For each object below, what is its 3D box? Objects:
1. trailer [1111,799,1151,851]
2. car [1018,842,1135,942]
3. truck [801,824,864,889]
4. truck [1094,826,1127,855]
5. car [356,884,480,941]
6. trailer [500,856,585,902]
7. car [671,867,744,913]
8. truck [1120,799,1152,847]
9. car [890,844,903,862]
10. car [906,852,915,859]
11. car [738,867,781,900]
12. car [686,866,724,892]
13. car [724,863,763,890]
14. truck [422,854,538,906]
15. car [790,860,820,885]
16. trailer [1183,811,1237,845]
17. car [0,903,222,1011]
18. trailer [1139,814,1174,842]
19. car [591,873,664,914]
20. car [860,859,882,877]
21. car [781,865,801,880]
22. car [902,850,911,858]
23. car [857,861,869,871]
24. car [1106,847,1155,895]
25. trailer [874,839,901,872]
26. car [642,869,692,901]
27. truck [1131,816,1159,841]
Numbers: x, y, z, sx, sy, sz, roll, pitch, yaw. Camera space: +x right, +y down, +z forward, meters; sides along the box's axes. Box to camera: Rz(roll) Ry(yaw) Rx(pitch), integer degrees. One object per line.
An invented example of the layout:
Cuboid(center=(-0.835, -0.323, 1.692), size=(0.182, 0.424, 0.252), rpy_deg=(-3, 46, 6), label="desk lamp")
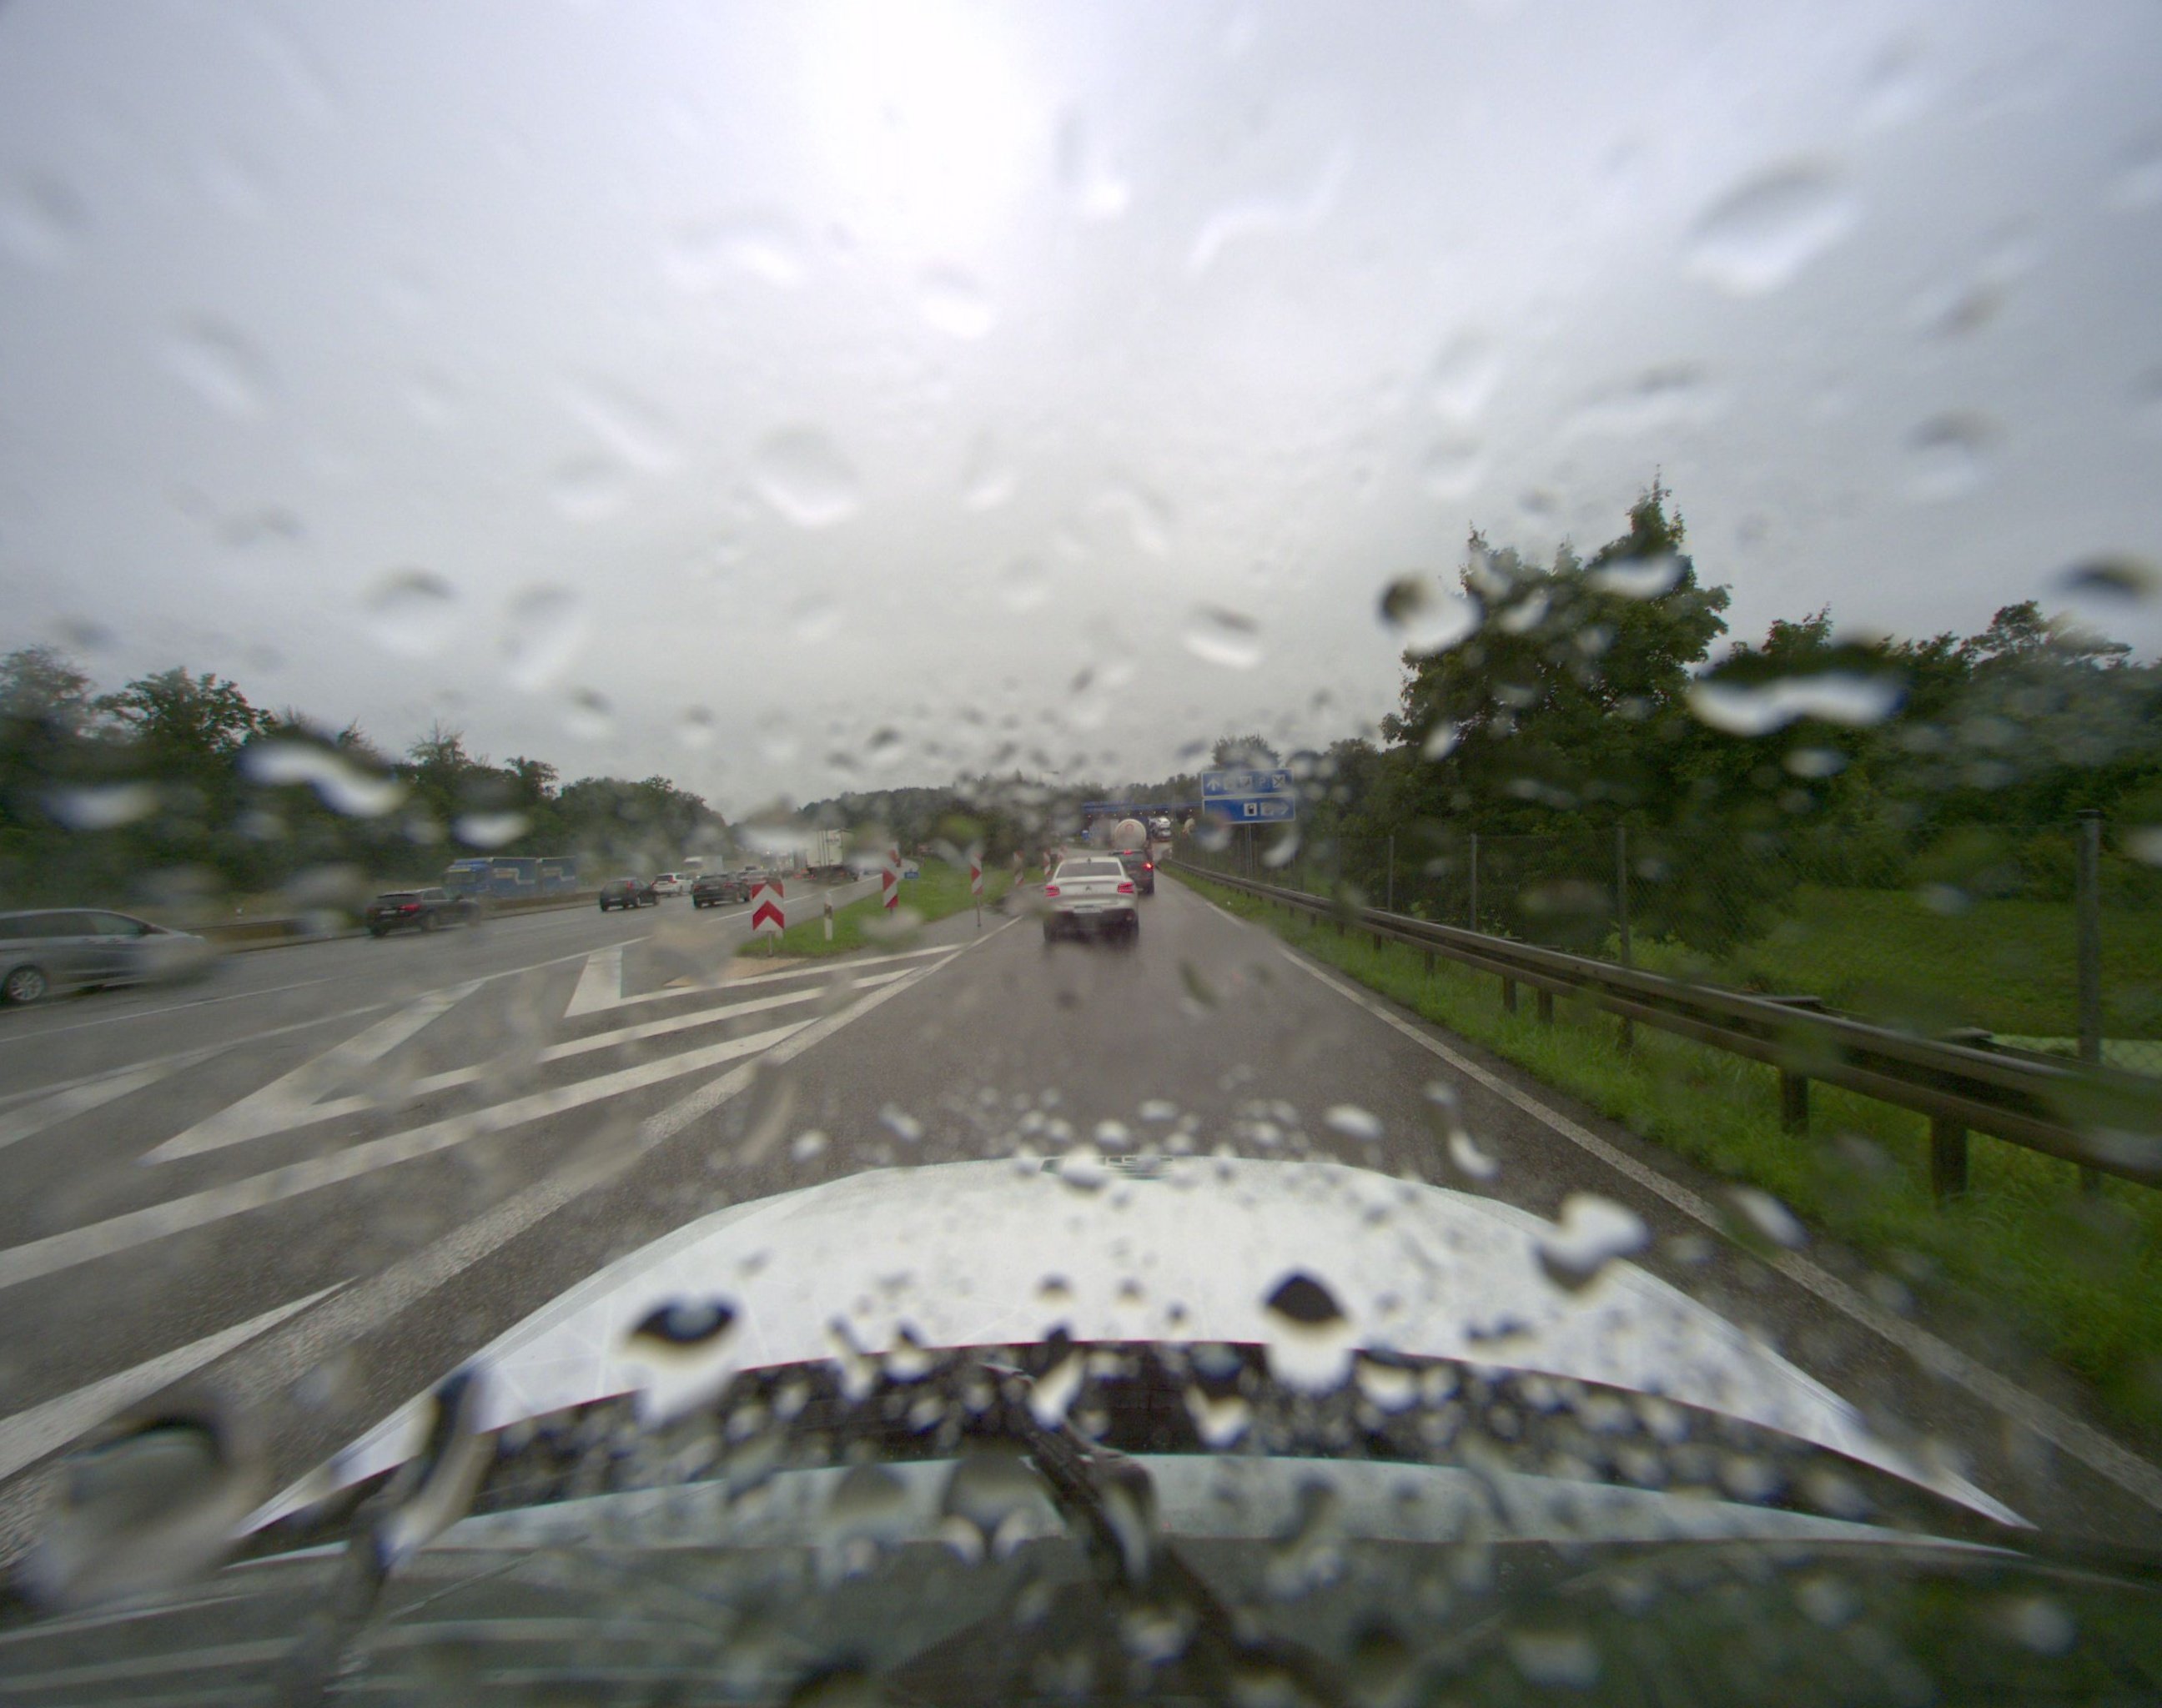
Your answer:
Cuboid(center=(3.626, -2.049, 57.419), size=(1.970, 3.224, 10.344), rpy_deg=(-3, 2, 7), label="trailer")
Cuboid(center=(-0.033, 0.645, 15.988), size=(1.986, 1.679, 4.001), rpy_deg=(-1, 0, 1), label="car")
Cuboid(center=(-18.557, 0.232, 61.543), size=(2.850, 4.292, 11.800), rpy_deg=(-4, 0, -10), label="truck")
Cuboid(center=(4.165, -2.033, 118.715), size=(2.370, 3.873, 12.419), rpy_deg=(-4, 2, -8), label="truck")
Cuboid(center=(-25.235, 2.166, 31.200), size=(1.776, 1.736, 4.086), rpy_deg=(-4, 0, -9), label="car")
Cuboid(center=(-51.047, 2.329, 77.524), size=(3.089, 4.047, 9.138), rpy_deg=(1, -1, -9), label="trailer")
Cuboid(center=(-16.072, 1.490, 35.221), size=(1.776, 1.736, 3.834), rpy_deg=(-4, 0, -9), label="car")
Cuboid(center=(4.386, -2.412, 63.867), size=(2.042, 3.530, 4.757), rpy_deg=(-3, 1, 7), label="truck")
Cuboid(center=(-37.925, -0.168, 167.610), size=(2.376, 3.485, 4.791), rpy_deg=(0, 0, -15), label="car")
Cuboid(center=(-46.535, 0.390, 221.886), size=(1.998, 2.014, 3.977), rpy_deg=(0, 0, -17), label="car")
Cuboid(center=(-20.996, 1.880, 53.331), size=(1.789, 1.971, 4.318), rpy_deg=(-3, 0, -11), label="car")
Cuboid(center=(-33.406, 2.210, 72.538), size=(1.994, 2.013, 3.986), rpy_deg=(-4, 0, -10), label="car")
Cuboid(center=(-27.570, 1.820, 66.661), size=(1.994, 2.013, 3.986), rpy_deg=(-4, 0, -10), label="car")
Cuboid(center=(-49.595, 2.119, 67.741), size=(3.059, 3.980, 10.527), rpy_deg=(0, -1, -8), label="truck")
Cuboid(center=(-25.006, 1.636, 73.858), size=(1.996, 2.013, 3.982), rpy_deg=(-4, 0, -13), label="car")
Cuboid(center=(14.825, -3.028, 92.754), size=(2.110, 3.440, 10.320), rpy_deg=(-3, 2, 31), label="trailer")
Cuboid(center=(-18.567, 1.840, 14.674), size=(1.786, 1.526, 4.325), rpy_deg=(-4, 0, -6), label="car")
Cuboid(center=(12.029, -4.130, 130.593), size=(3.212, 4.188, 11.505), rpy_deg=(-3, 2, -6), label="trailer")
Cuboid(center=(-22.494, 1.927, 40.568), size=(1.775, 1.736, 4.087), rpy_deg=(-4, 0, -9), label="car")
Cuboid(center=(-23.176, 1.540, 89.996), size=(1.994, 1.815, 3.986), rpy_deg=(-3, 0, -10), label="car")
Cuboid(center=(-36.267, 2.308, 101.819), size=(1.699, 1.786, 3.770), rpy_deg=(-4, 0, -12), label="car")
Cuboid(center=(-43.378, 0.082, 202.351), size=(1.998, 2.014, 3.977), rpy_deg=(0, 0, -17), label="car")
Cuboid(center=(-42.137, 2.309, 157.303), size=(1.994, 1.748, 3.985), rpy_deg=(-1, 0, -11), label="car")
Cuboid(center=(1.851, 0.615, 30.934), size=(1.735, 1.667, 4.003), rpy_deg=(-1, 0, 3), label="car")
Cuboid(center=(-30.090, 0.248, 127.132), size=(3.552, 4.611, 12.065), rpy_deg=(-4, 0, -13), label="trailer")
Cuboid(center=(-29.580, 2.188, 58.326), size=(1.994, 2.013, 3.986), rpy_deg=(-4, 0, -10), label="car")
Cuboid(center=(10.959, -4.401, 140.530), size=(3.230, 4.187, 8.426), rpy_deg=(-3, 2, -6), label="truck")
